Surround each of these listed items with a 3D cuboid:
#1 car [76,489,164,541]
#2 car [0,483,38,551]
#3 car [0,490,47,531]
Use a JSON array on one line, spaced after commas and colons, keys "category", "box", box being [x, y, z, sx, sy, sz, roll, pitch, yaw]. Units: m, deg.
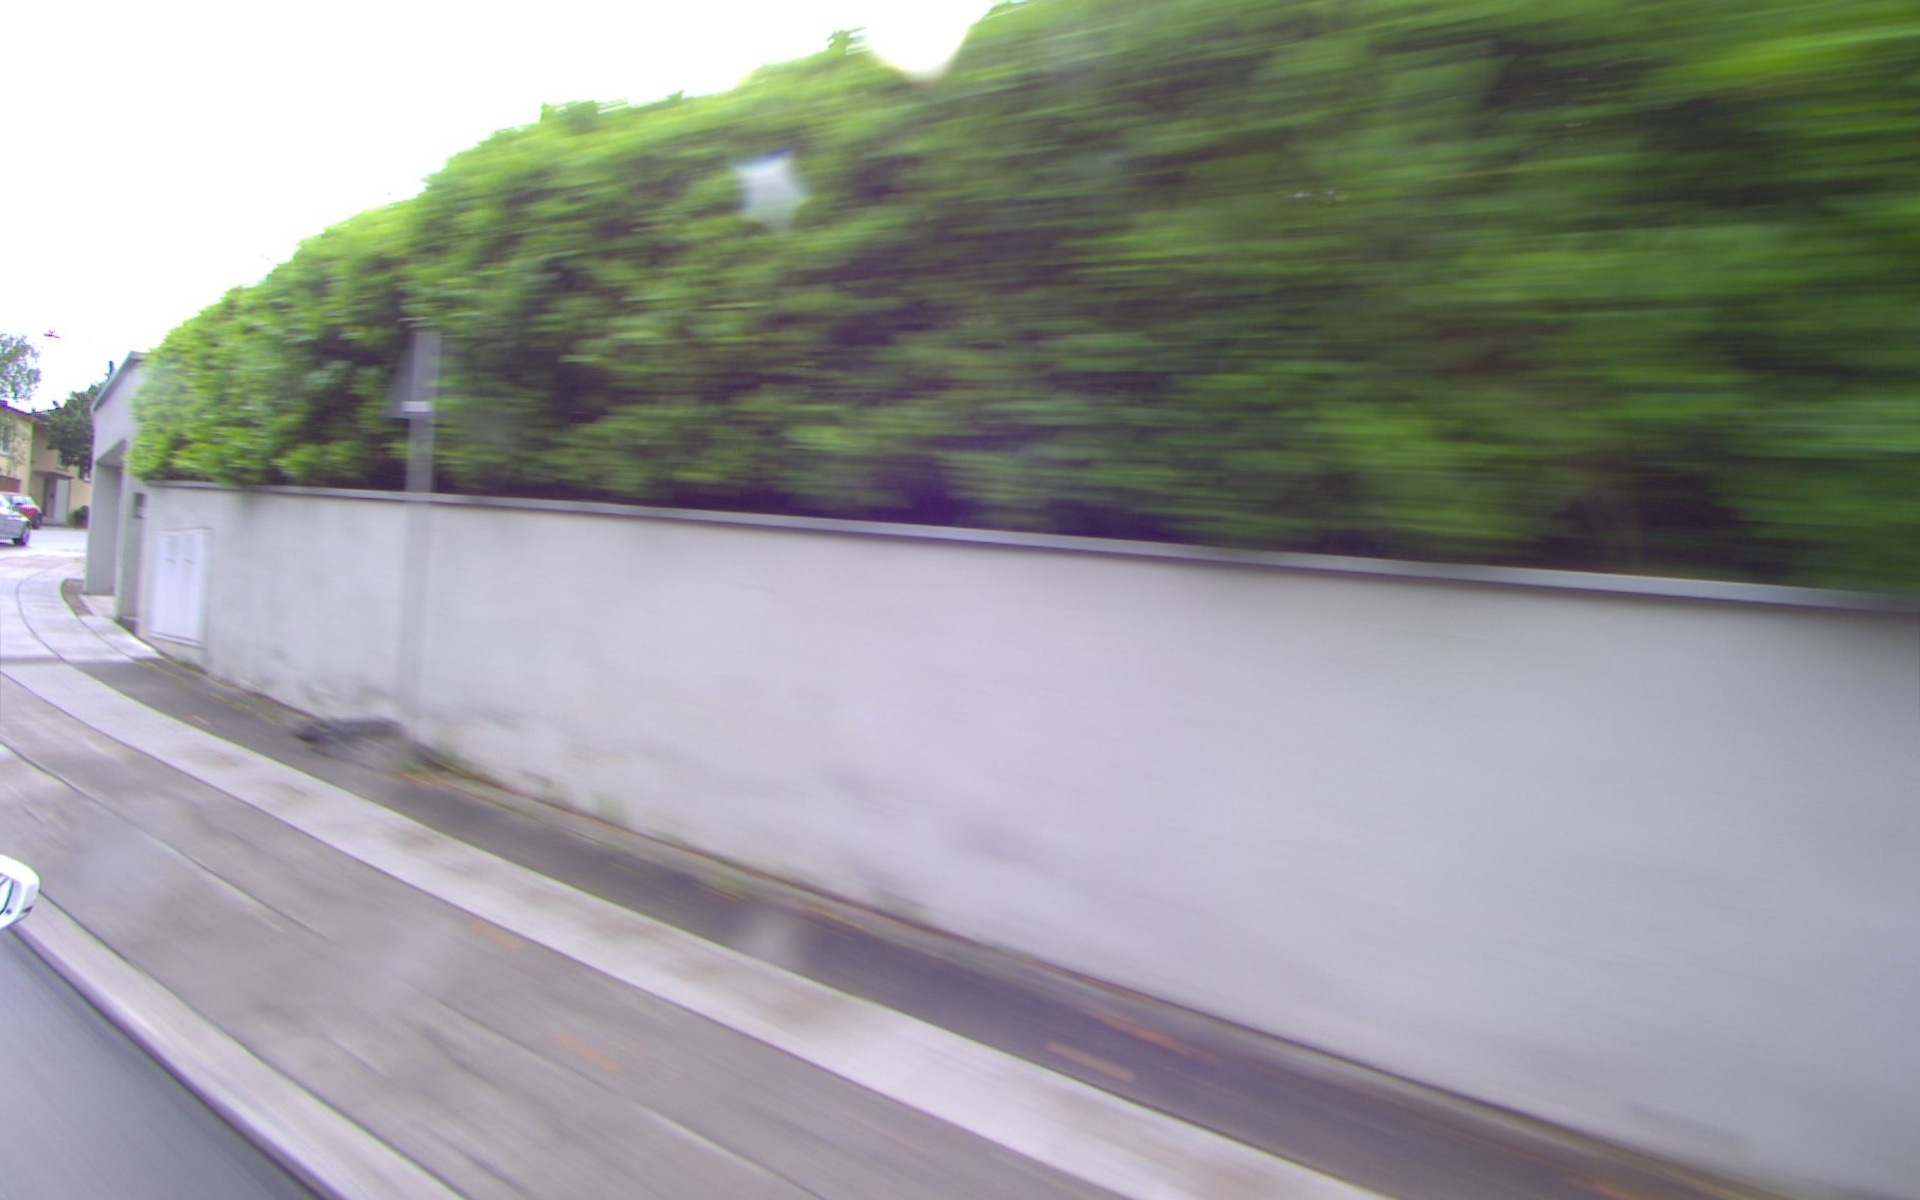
[{"category": "car", "box": [-34.363, -3.493, 41.268, 1.718, 1.792, 4.204, 6, 3, -26]}, {"category": "car", "box": [-26.085, -2.265, 26.309, 1.960, 1.657, 4.198, 6, 3, -31]}, {"category": "car", "box": [-38.265, -3.594, 39.938, 1.663, 1.491, 3.846, 4, 1, -21]}]
